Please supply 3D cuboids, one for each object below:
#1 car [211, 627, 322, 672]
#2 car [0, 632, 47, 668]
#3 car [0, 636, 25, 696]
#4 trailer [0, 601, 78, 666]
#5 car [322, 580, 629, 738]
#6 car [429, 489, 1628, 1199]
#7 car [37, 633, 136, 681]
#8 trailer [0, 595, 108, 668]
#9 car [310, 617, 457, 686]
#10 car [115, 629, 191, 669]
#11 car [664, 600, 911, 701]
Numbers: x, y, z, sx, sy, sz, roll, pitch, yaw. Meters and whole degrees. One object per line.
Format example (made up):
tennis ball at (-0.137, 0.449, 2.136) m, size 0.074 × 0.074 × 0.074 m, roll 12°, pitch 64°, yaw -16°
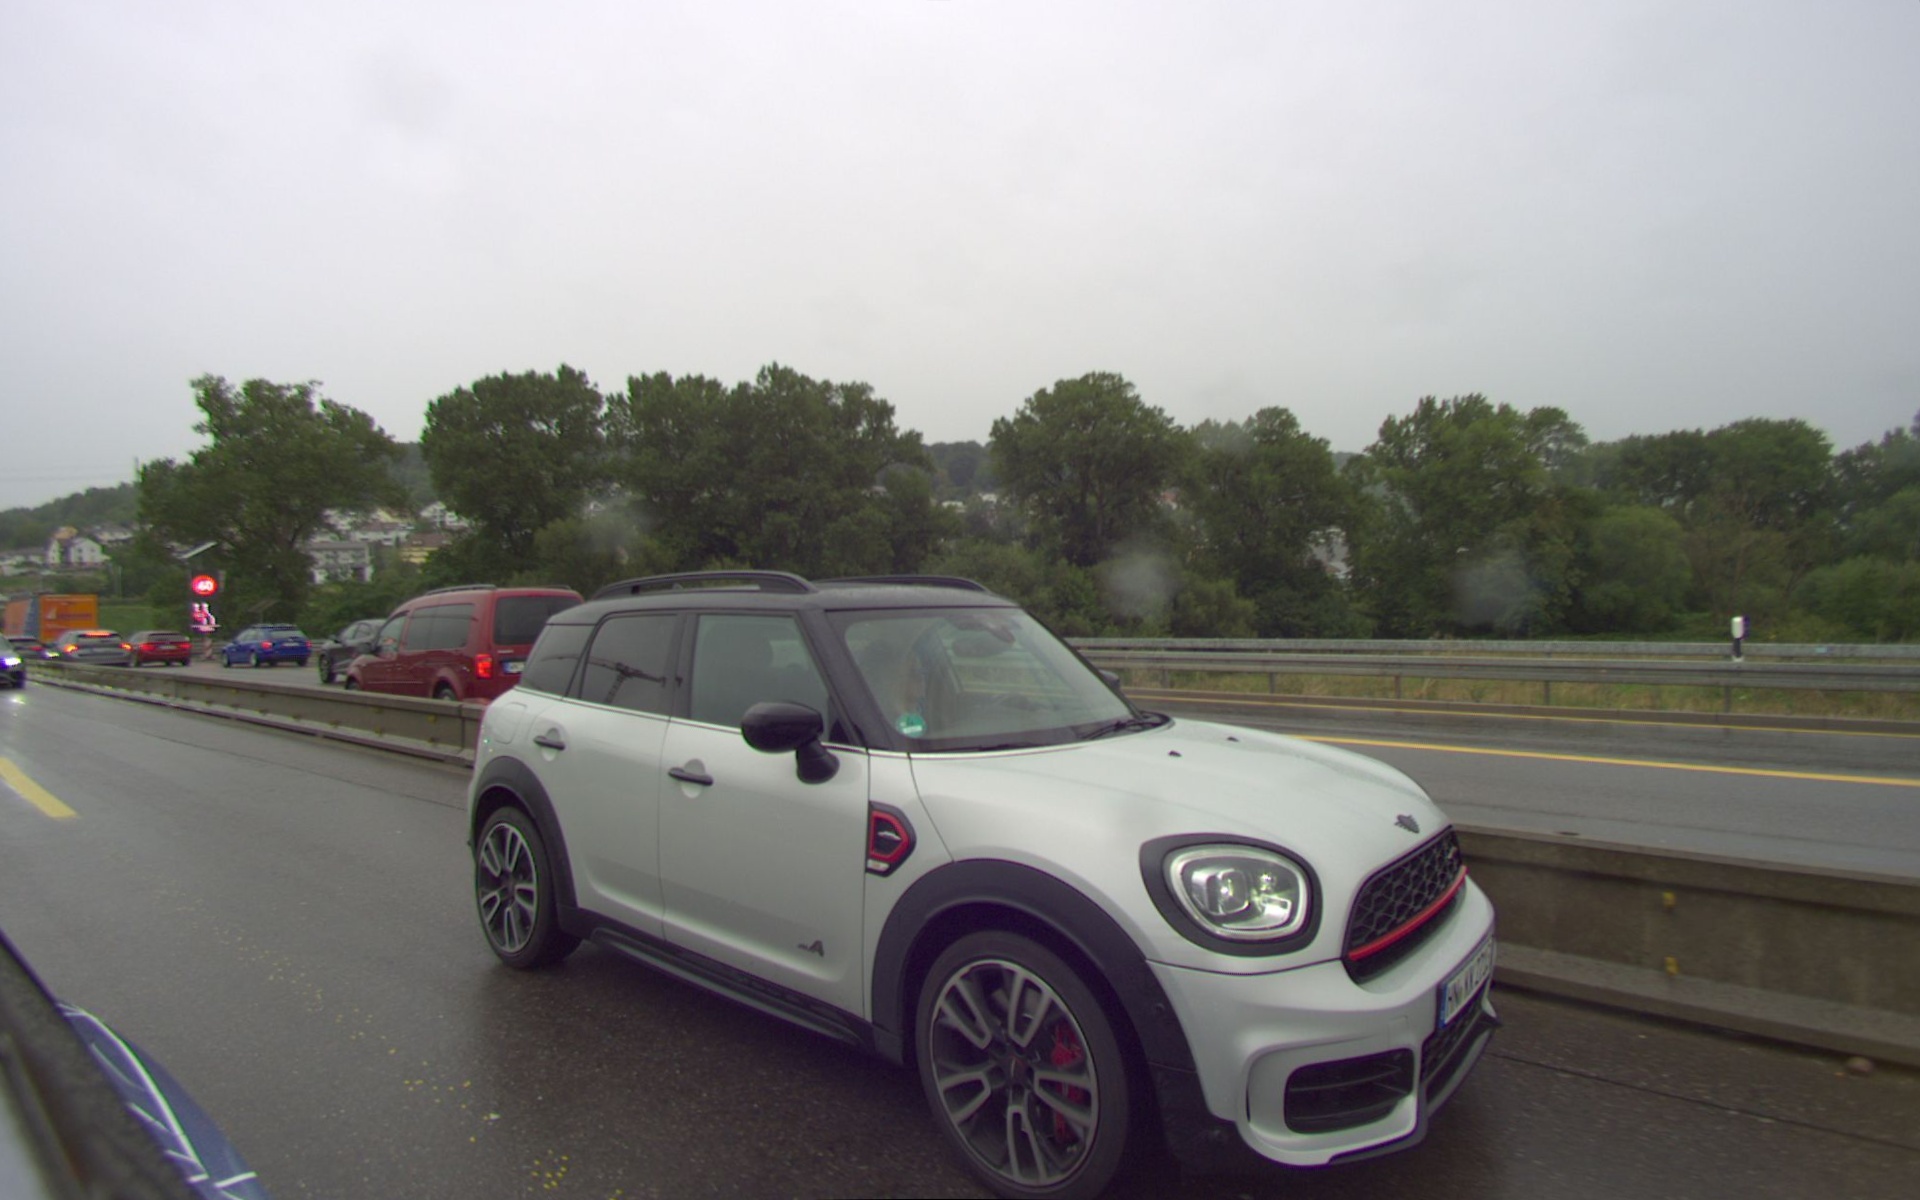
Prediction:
car at (-26.206, 1.867, 38.201) m, size 4.736 × 1.522 × 1.976 m, roll -2°, pitch -1°, yaw 36°
car at (-43.468, 2.253, 46.234) m, size 4.742 × 1.522 × 1.953 m, roll -2°, pitch -1°, yaw 40°
car at (-25.606, 1.679, 25.967) m, size 4.481 × 1.449 × 1.926 m, roll -2°, pitch -1°, yaw 41°
trailer at (-59.610, 2.188, 65.291) m, size 6.348 × 3.948 × 3.236 m, roll -3°, pitch -1°, yaw 41°
car at (-6.598, 0.778, 13.537) m, size 4.839 × 1.762 × 1.827 m, roll -3°, pitch -4°, yaw 39°
car at (-0.187, 0.672, 3.832) m, size 4.306 × 1.612 × 1.797 m, roll -2°, pitch -1°, yaw 41°
car at (-28.790, 1.875, 33.325) m, size 4.409 × 1.460 × 1.887 m, roll -3°, pitch -4°, yaw 42°
trailer at (-54.881, 1.972, 61.089) m, size 13.691 × 3.938 × 3.243 m, roll -3°, pitch -1°, yaw 41°
car at (-13.969, 1.247, 24.446) m, size 3.996 × 1.508 × 1.802 m, roll -3°, pitch -2°, yaw 40°
car at (-34.070, 2.034, 42.695) m, size 4.304 × 1.522 × 1.799 m, roll -2°, pitch -1°, yaw 41°
car at (-3.109, 0.907, 17.890) m, size 4.261 × 1.588 × 1.829 m, roll -3°, pitch -3°, yaw 35°
